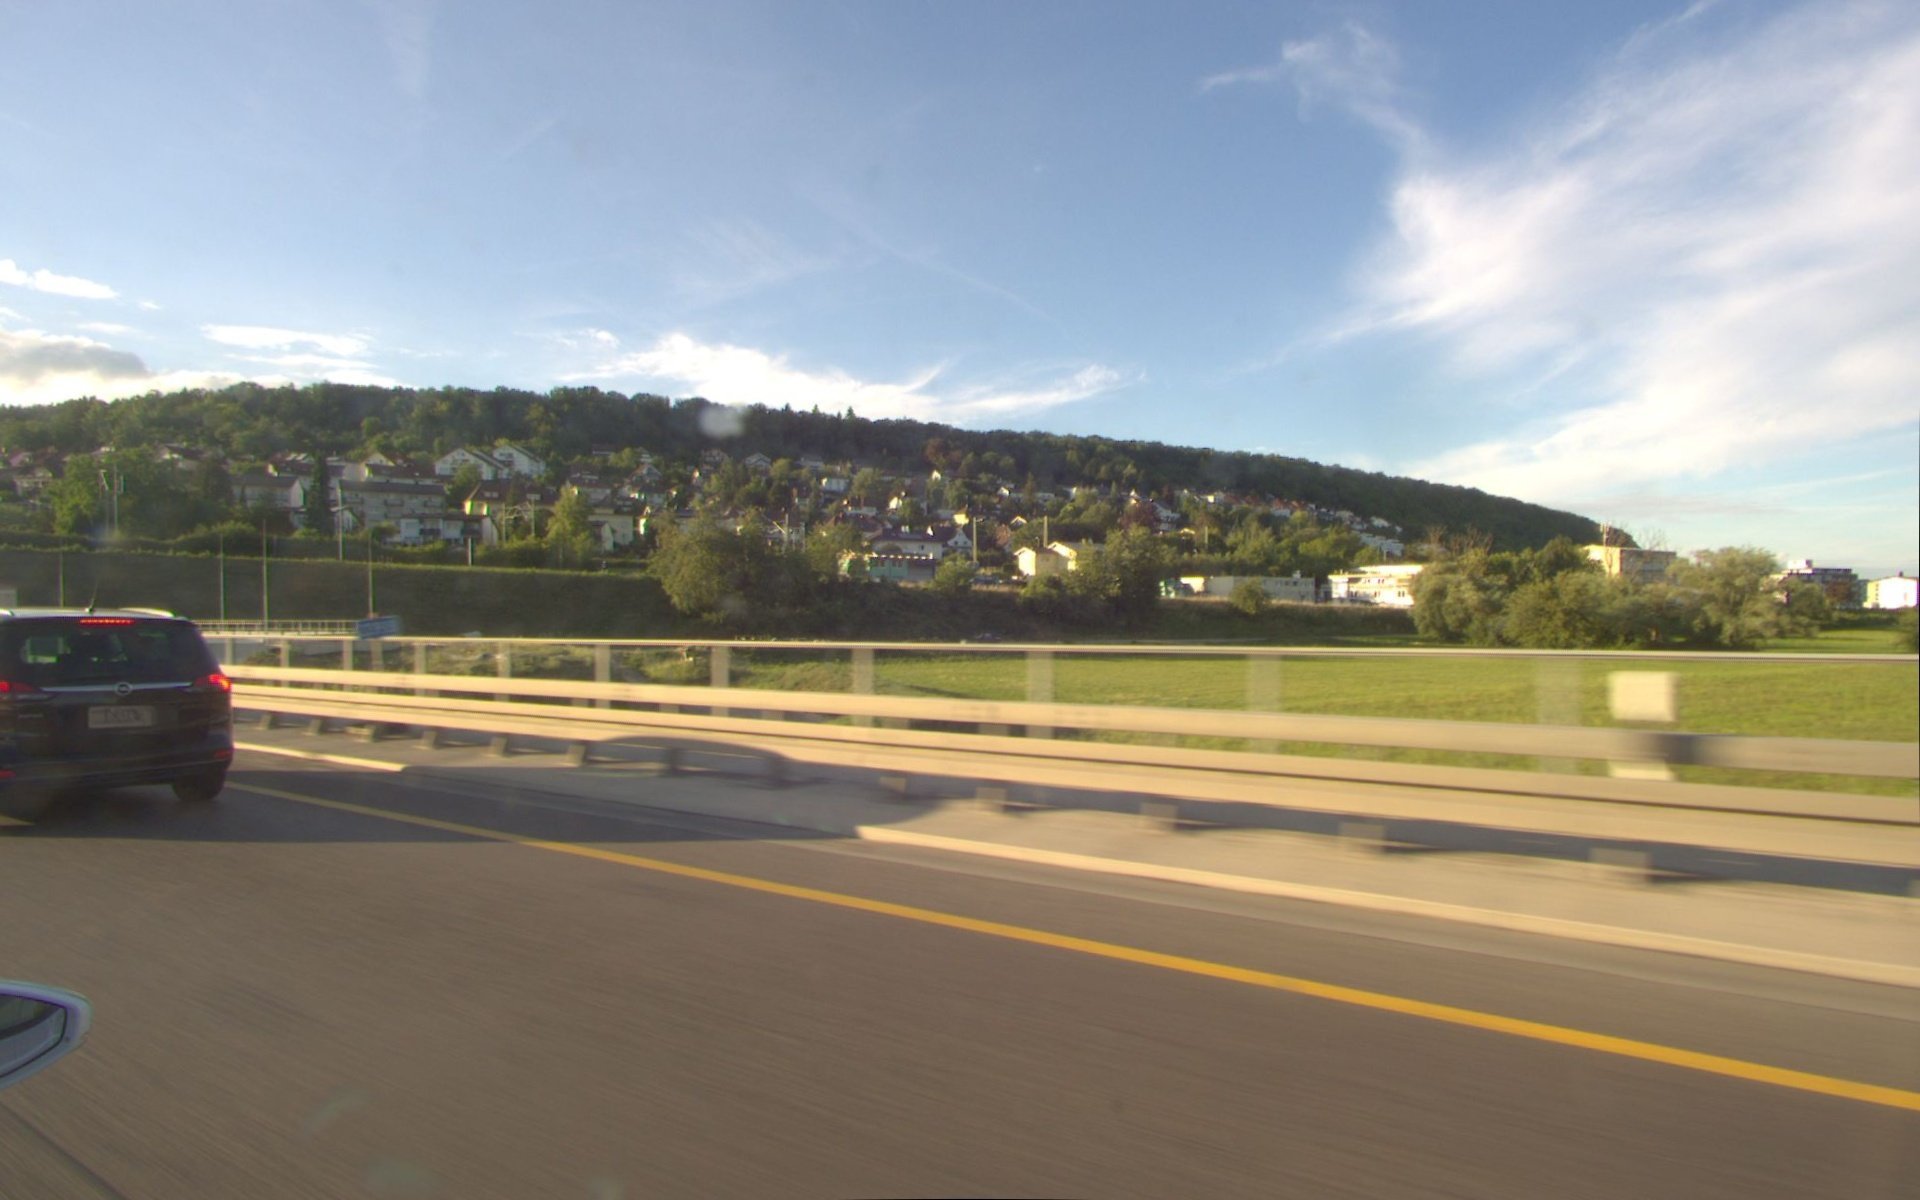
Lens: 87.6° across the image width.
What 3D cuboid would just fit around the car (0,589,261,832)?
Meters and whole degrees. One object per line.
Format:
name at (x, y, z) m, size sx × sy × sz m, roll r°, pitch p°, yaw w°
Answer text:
car at (-8.027, 0.795, 8.578) m, size 4.348 × 1.653 × 1.811 m, roll -1°, pitch -2°, yaw 33°
